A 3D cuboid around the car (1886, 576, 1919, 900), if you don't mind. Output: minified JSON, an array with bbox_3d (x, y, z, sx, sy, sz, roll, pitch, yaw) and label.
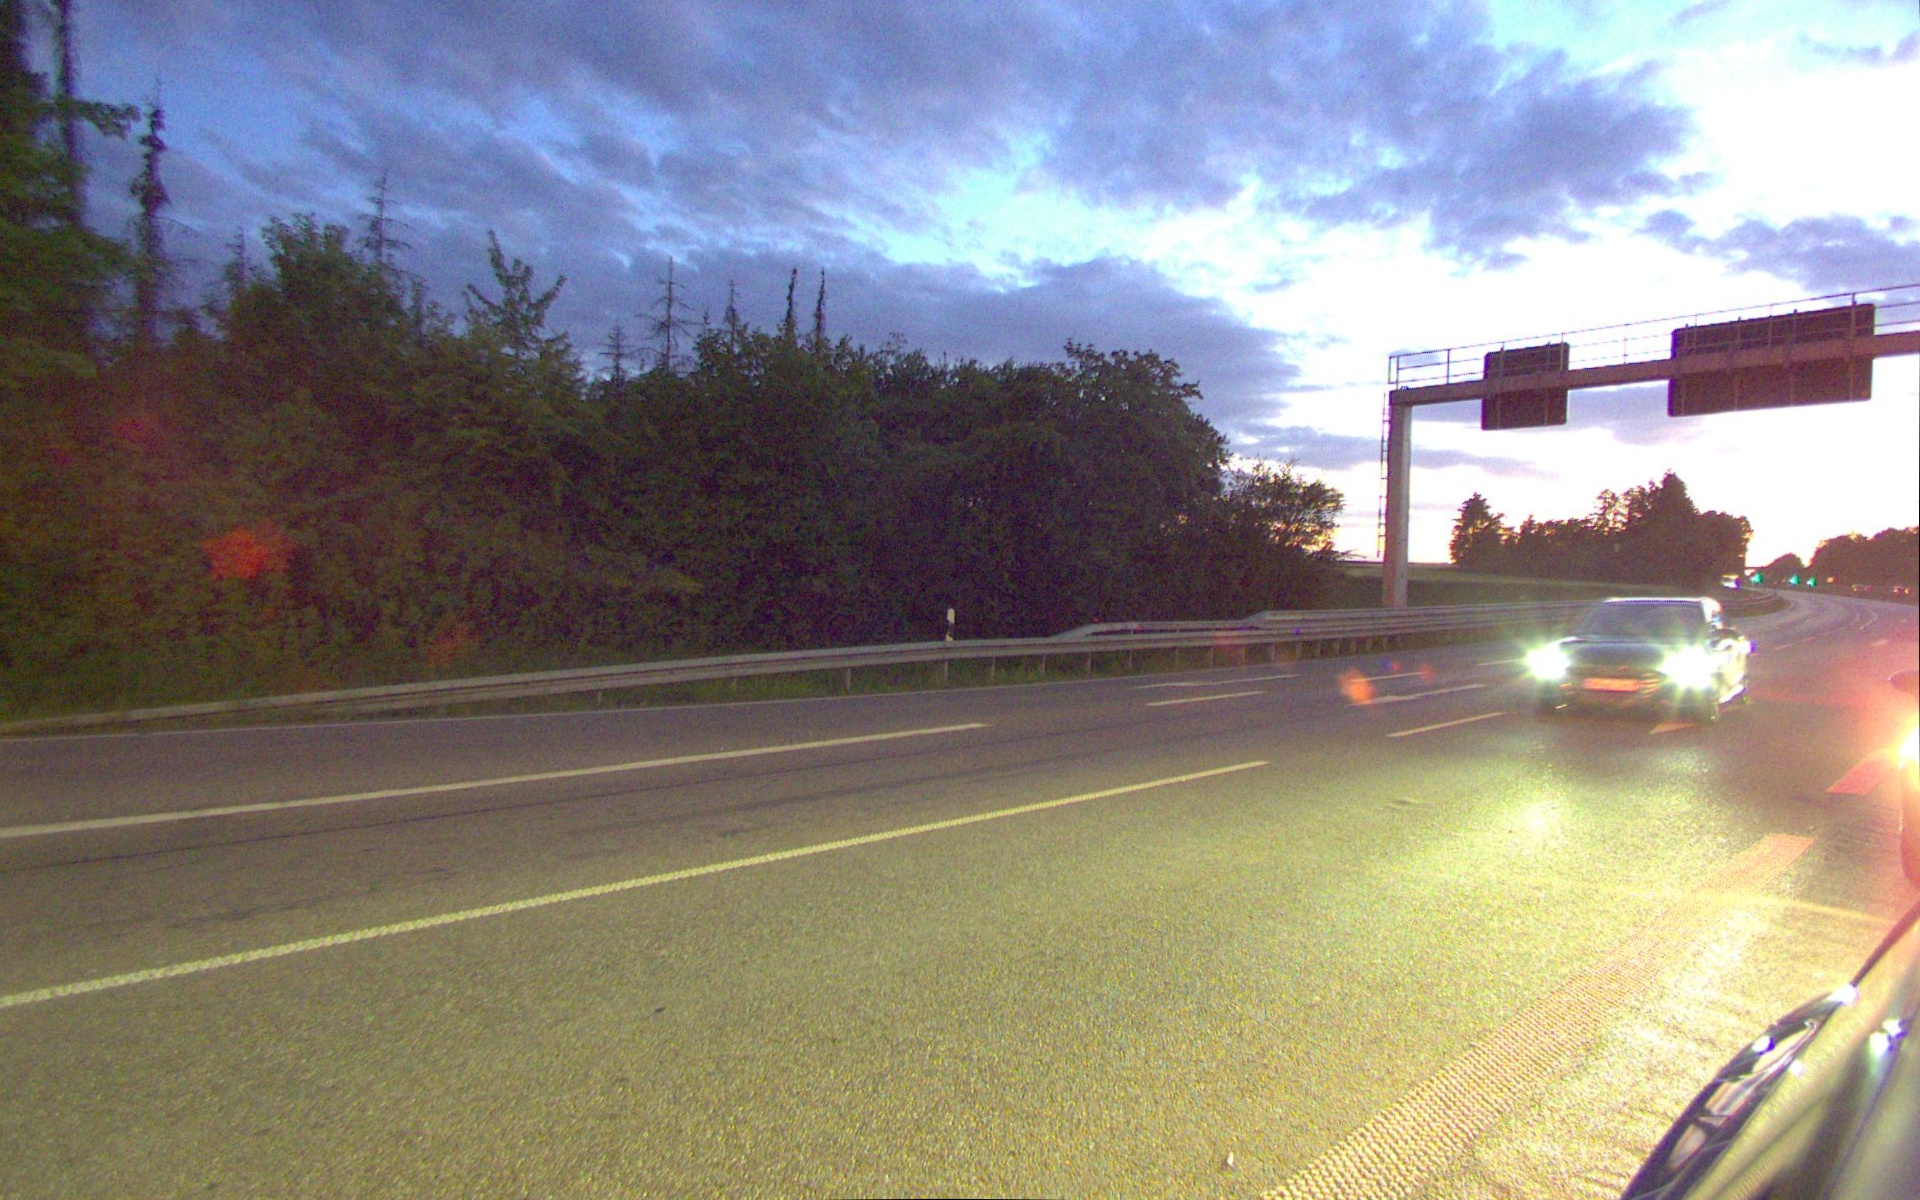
[{"bbox_3d":[6.329,0.637,5.261,3.707,1.499,1.670,0,1,-38],"label":"car"}]

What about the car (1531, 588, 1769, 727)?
[{"bbox_3d":[8.909,0.594,12.899,1.790,1.462,4.462,0,0,44],"label":"car"}]
